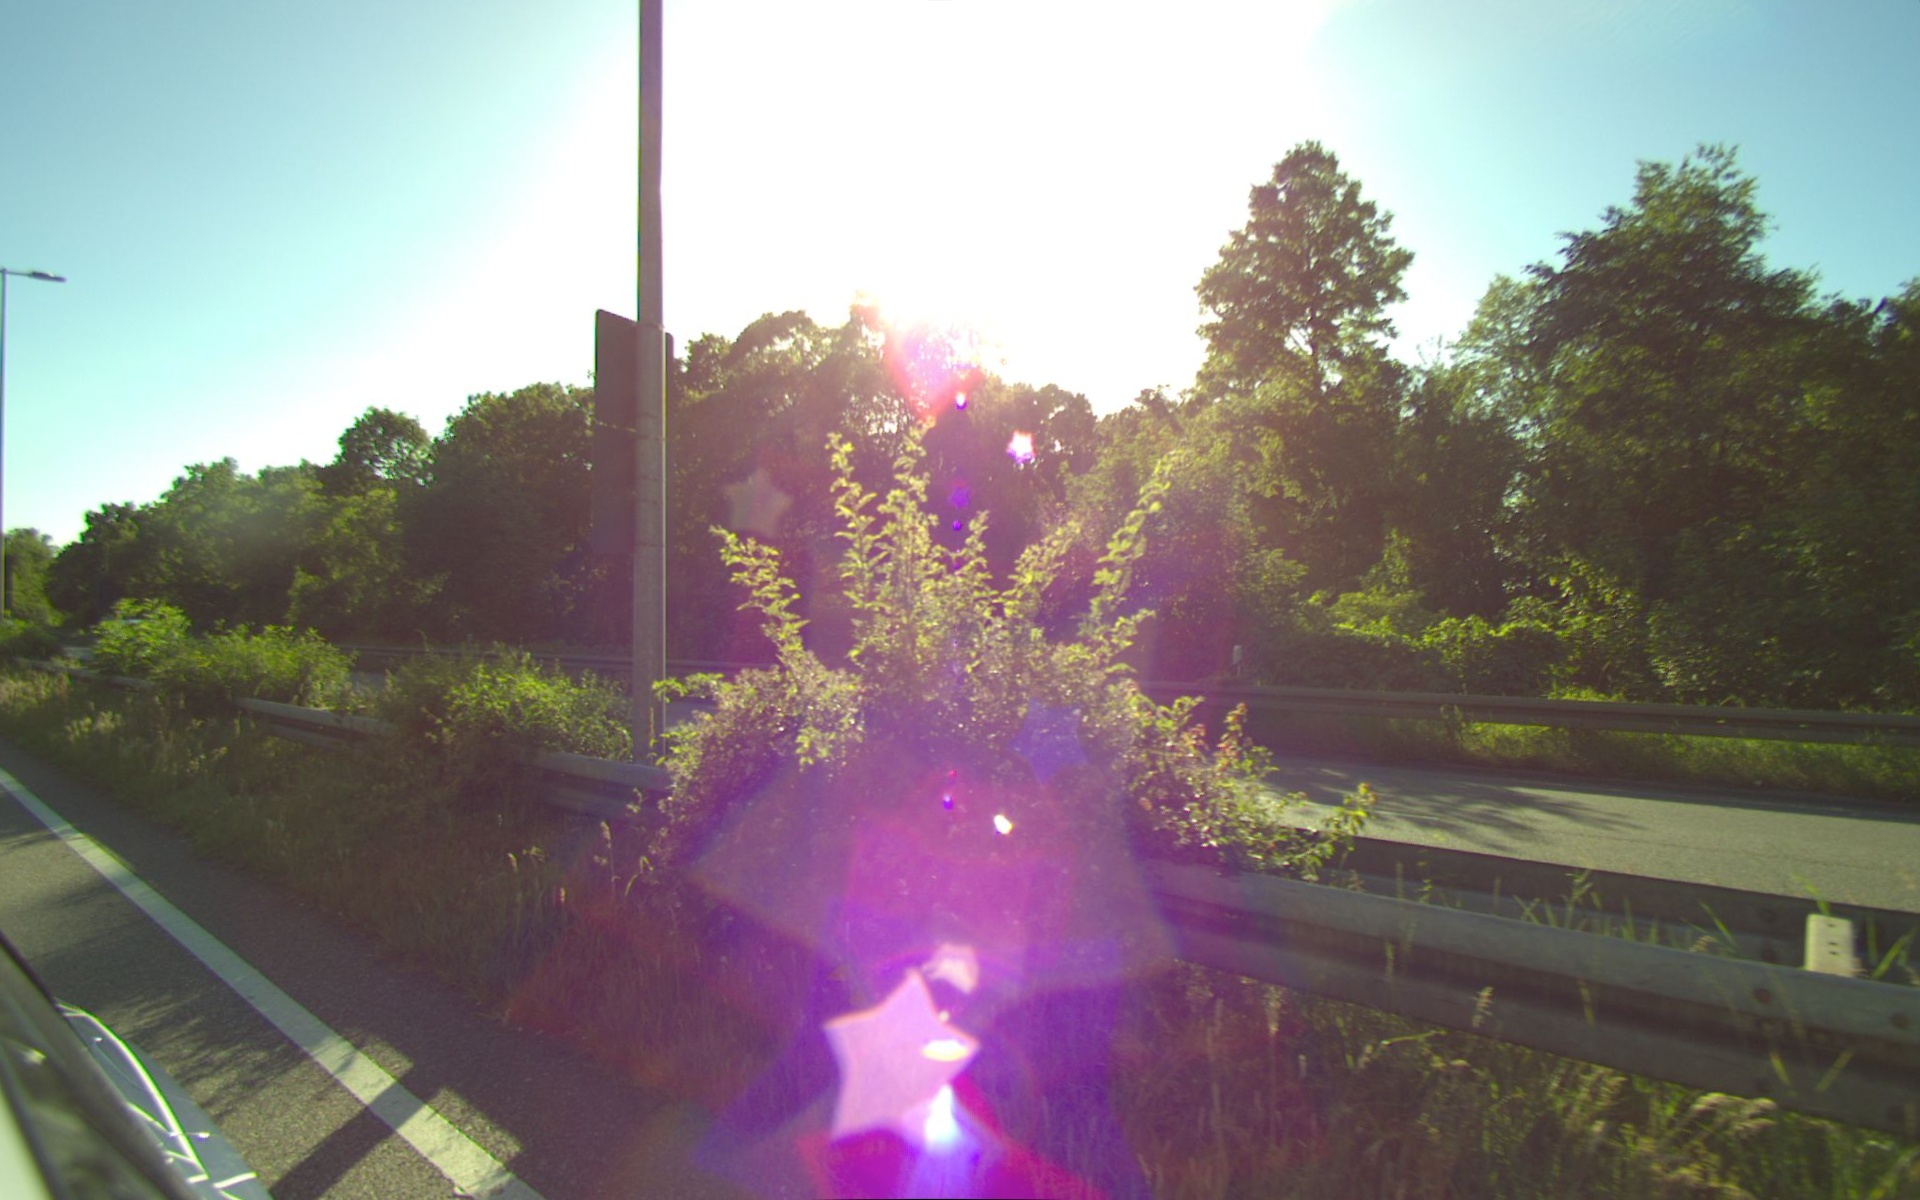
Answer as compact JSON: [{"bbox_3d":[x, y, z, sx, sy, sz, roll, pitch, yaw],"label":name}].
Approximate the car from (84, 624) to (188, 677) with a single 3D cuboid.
[{"bbox_3d":[-26.032,1.565,31.916,4.215,1.582,1.751,-2,-3,40],"label":"car"}]
